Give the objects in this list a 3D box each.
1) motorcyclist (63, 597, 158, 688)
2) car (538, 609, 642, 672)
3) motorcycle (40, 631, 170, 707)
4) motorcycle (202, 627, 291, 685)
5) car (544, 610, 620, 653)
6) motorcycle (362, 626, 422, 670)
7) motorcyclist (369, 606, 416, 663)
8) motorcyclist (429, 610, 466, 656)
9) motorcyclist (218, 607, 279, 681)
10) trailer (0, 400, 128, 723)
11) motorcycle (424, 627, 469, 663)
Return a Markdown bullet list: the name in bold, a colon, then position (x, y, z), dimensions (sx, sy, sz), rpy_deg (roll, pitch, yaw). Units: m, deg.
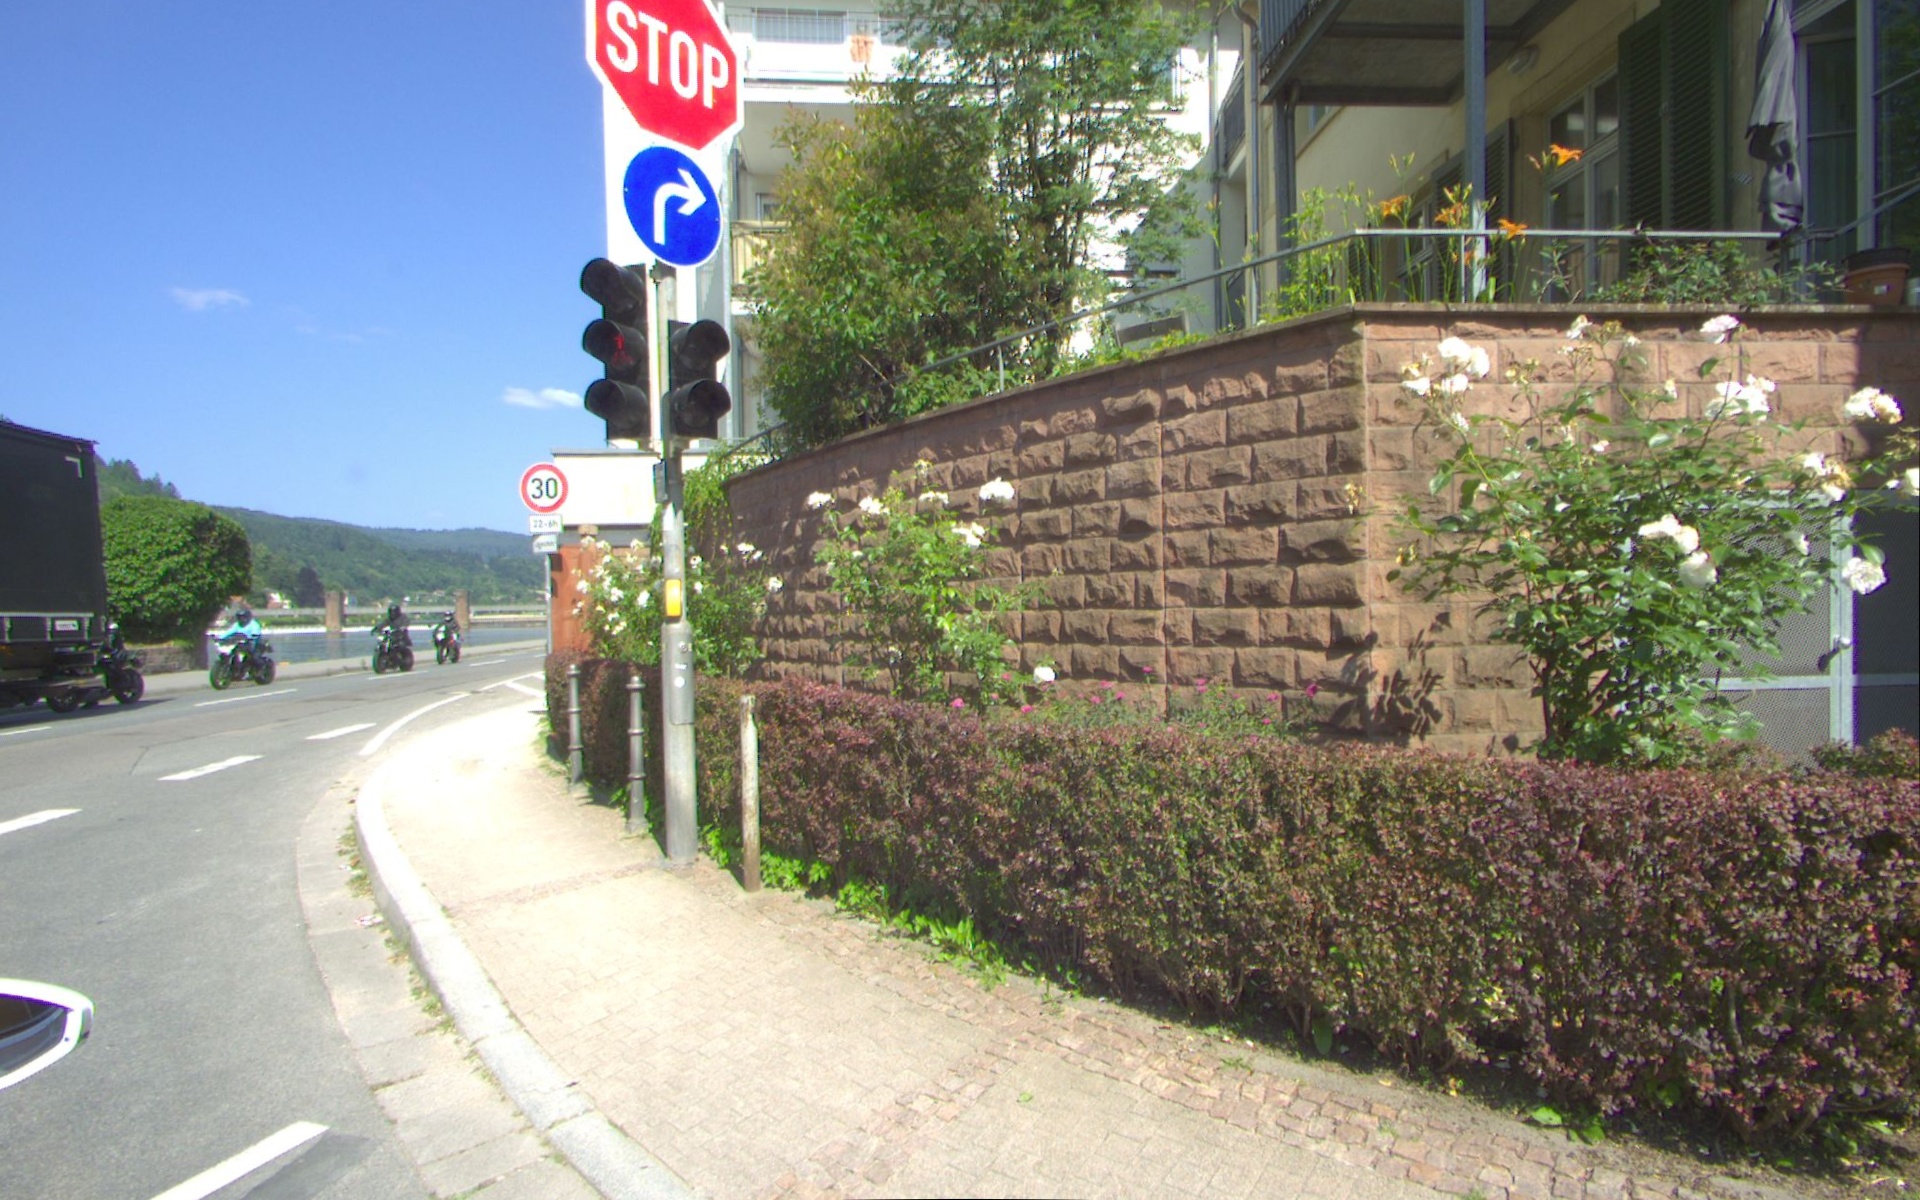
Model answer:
- **motorcyclist**: position (-14.591, 0.711, 17.227), dimensions (0.766, 1.479, 0.991), rpy_deg (-3, 0, -8)
- **car**: position (-8.943, 0.933, 24.480), dimensions (1.661, 1.417, 3.737), rpy_deg (0, -1, -9)
- **motorcycle**: position (-14.627, 1.145, 17.217), dimensions (0.623, 1.138, 2.092), rpy_deg (-3, 0, -8)
- **motorcycle**: position (-15.493, 1.181, 21.806), dimensions (0.623, 1.138, 2.092), rpy_deg (-3, 0, -8)
- **car**: position (-13.407, 1.091, 35.738), dimensions (1.697, 1.424, 4.016), rpy_deg (-1, 0, -8)
- **motorcycle**: position (-14.338, 1.198, 25.327), dimensions (0.646, 1.038, 1.814), rpy_deg (-1, 0, -8)
- **motorcyclist**: position (-14.384, 0.865, 25.396), dimensions (0.774, 1.384, 0.800), rpy_deg (-1, 0, -8)
- **motorcyclist**: position (-15.619, 0.993, 30.511), dimensions (0.706, 1.384, 0.936), rpy_deg (-1, 0, -8)
- **motorcyclist**: position (-15.499, 0.939, 21.835), dimensions (0.653, 1.545, 0.991), rpy_deg (-3, 0, -9)
- **trailer**: position (-13.119, -0.478, 8.001), dimensions (2.788, 4.158, 13.766), rpy_deg (-3, 0, -7)
- **motorcycle**: position (-15.632, 1.350, 30.528), dimensions (0.646, 1.038, 1.814), rpy_deg (-1, 0, -8)
